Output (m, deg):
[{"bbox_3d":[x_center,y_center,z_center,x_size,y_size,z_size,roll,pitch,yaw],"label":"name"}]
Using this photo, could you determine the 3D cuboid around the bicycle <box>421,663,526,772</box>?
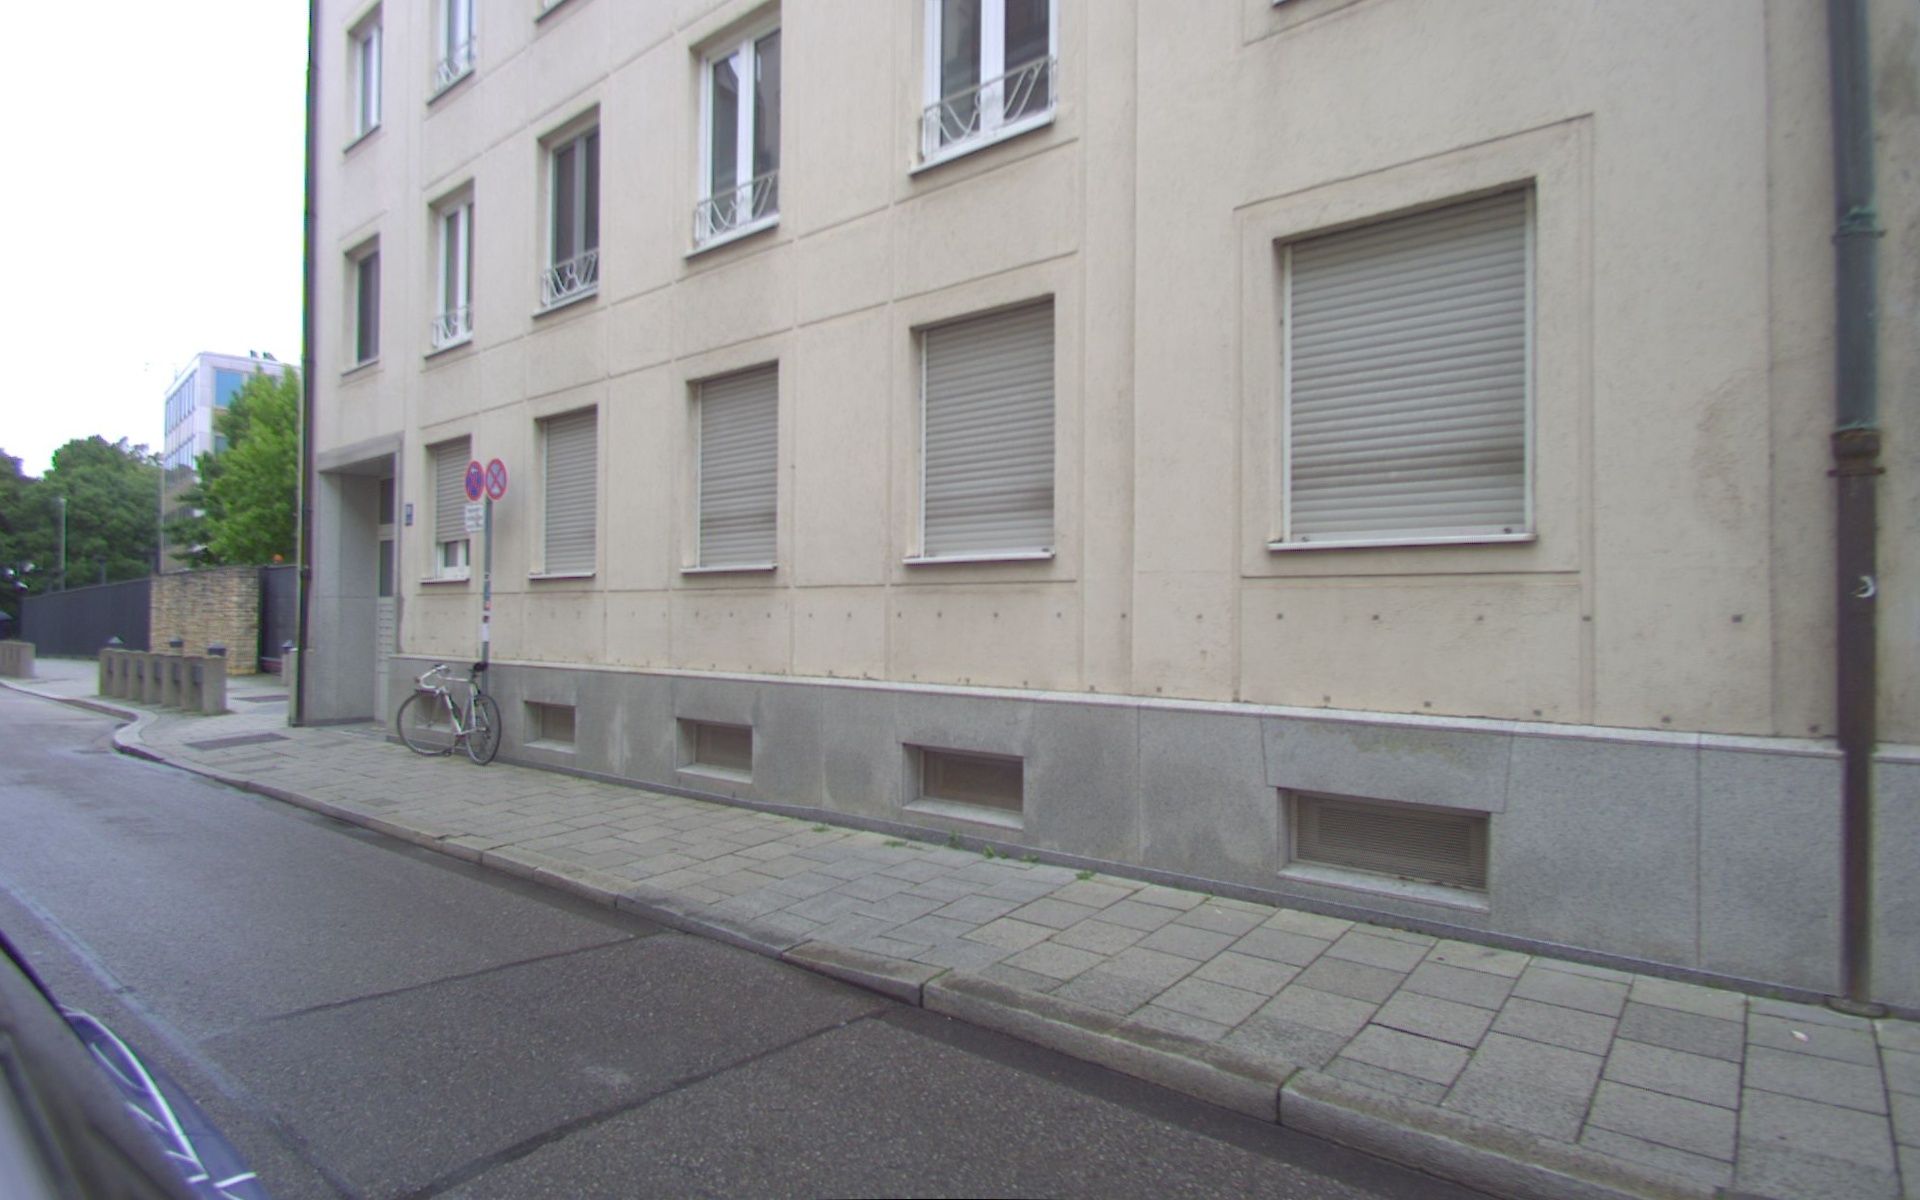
[{"bbox_3d":[-4.833,1.133,10.014,1.573,0.951,0.316,-1,1,41],"label":"bicycle"}]

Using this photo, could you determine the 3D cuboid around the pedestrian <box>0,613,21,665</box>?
[{"bbox_3d":[-39.662,1.605,41.751,1.116,2.120,1.210,-3,-3,41],"label":"pedestrian"}]
